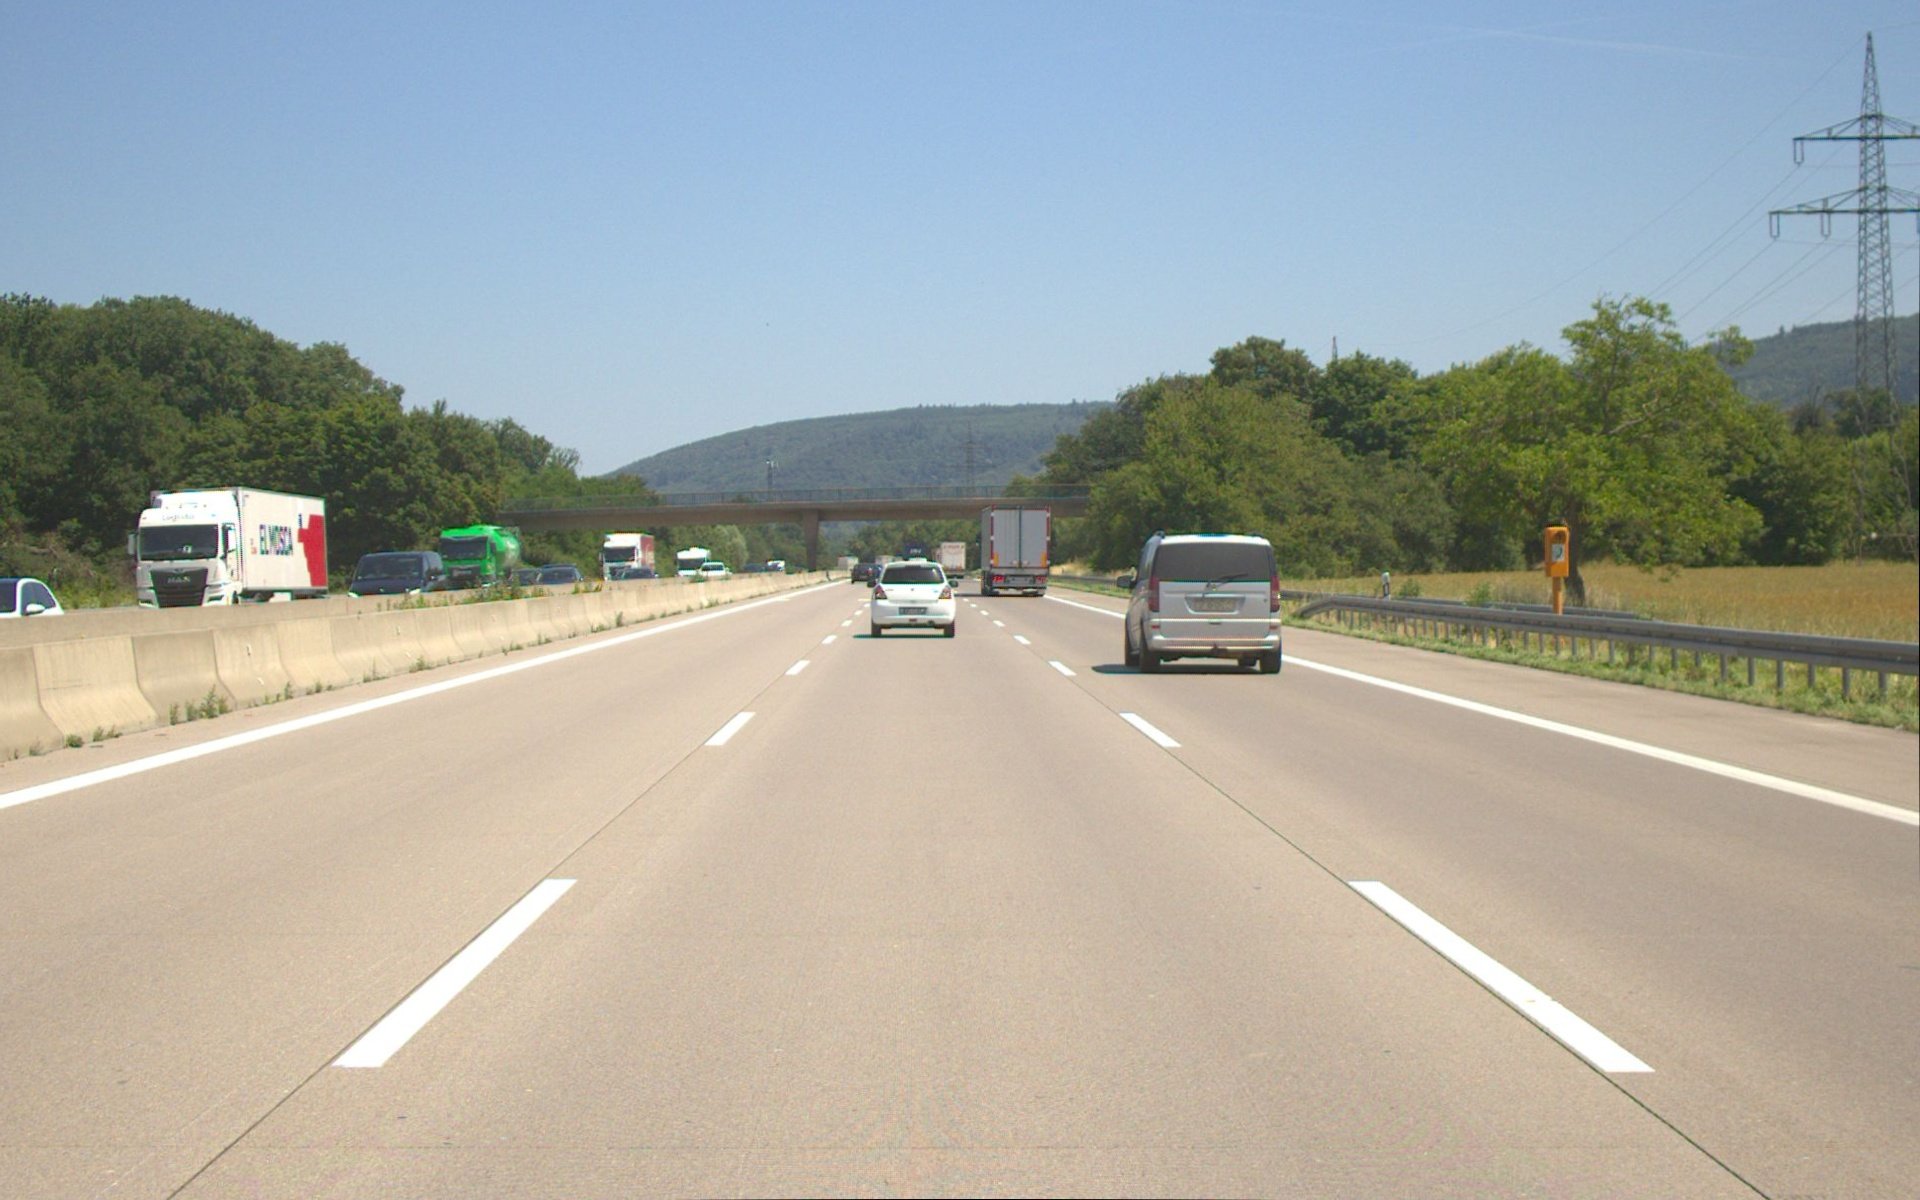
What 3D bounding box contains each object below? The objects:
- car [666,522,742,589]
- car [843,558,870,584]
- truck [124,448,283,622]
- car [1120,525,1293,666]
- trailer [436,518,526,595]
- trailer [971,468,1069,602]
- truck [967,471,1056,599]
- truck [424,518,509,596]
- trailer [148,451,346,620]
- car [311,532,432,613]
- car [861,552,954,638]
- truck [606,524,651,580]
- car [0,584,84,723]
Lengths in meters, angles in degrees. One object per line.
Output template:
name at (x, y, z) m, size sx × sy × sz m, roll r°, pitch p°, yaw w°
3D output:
car at (-7.506, -1.319, 101.051) m, size 1.993 × 1.842 × 4.001 m, roll 2°, pitch 1°, yaw -2°
car at (-7.412, -2.114, 246.251) m, size 1.928 × 1.787 × 4.000 m, roll 1°, pitch 1°, yaw -1°
truck at (-21.430, -1.837, 97.702) m, size 3.082 × 4.745 × 6.498 m, roll 1°, pitch 1°, yaw 0°
car at (3.375, -0.099, 47.750) m, size 1.993 × 1.842 × 4.000 m, roll 1°, pitch 1°, yaw -1°
trailer at (-23.684, -2.198, 170.646) m, size 3.049 × 3.622 × 11.670 m, roll 1°, pitch 1°, yaw -1°
trailer at (2.627, -2.930, 155.056) m, size 3.720 × 5.791 × 12.163 m, roll 1°, pitch 1°, yaw -2°
truck at (2.382, -3.051, 161.465) m, size 3.720 × 5.791 × 7.054 m, roll 1°, pitch 1°, yaw -2°
truck at (-23.554, -2.083, 164.433) m, size 3.049 × 3.622 × 7.978 m, roll 1°, pitch 1°, yaw -1°
trailer at (-21.467, -1.961, 104.455) m, size 3.082 × 4.745 × 14.374 m, roll 1°, pitch 1°, yaw 0°
car at (-13.457, -0.652, 78.866) m, size 1.993 × 1.789 × 4.467 m, roll 1°, pitch 1°, yaw 0°
car at (-1.080, -0.129, 69.593) m, size 1.819 × 1.656 × 4.000 m, roll 0°, pitch 1°, yaw -1°
truck at (-23.199, -3.352, 240.749) m, size 2.556 × 3.835 × 6.791 m, roll 1°, pitch 1°, yaw -1°
car at (-13.584, 0.696, 46.829) m, size 1.993 × 1.751 × 5.157 m, roll 1°, pitch 1°, yaw 0°
